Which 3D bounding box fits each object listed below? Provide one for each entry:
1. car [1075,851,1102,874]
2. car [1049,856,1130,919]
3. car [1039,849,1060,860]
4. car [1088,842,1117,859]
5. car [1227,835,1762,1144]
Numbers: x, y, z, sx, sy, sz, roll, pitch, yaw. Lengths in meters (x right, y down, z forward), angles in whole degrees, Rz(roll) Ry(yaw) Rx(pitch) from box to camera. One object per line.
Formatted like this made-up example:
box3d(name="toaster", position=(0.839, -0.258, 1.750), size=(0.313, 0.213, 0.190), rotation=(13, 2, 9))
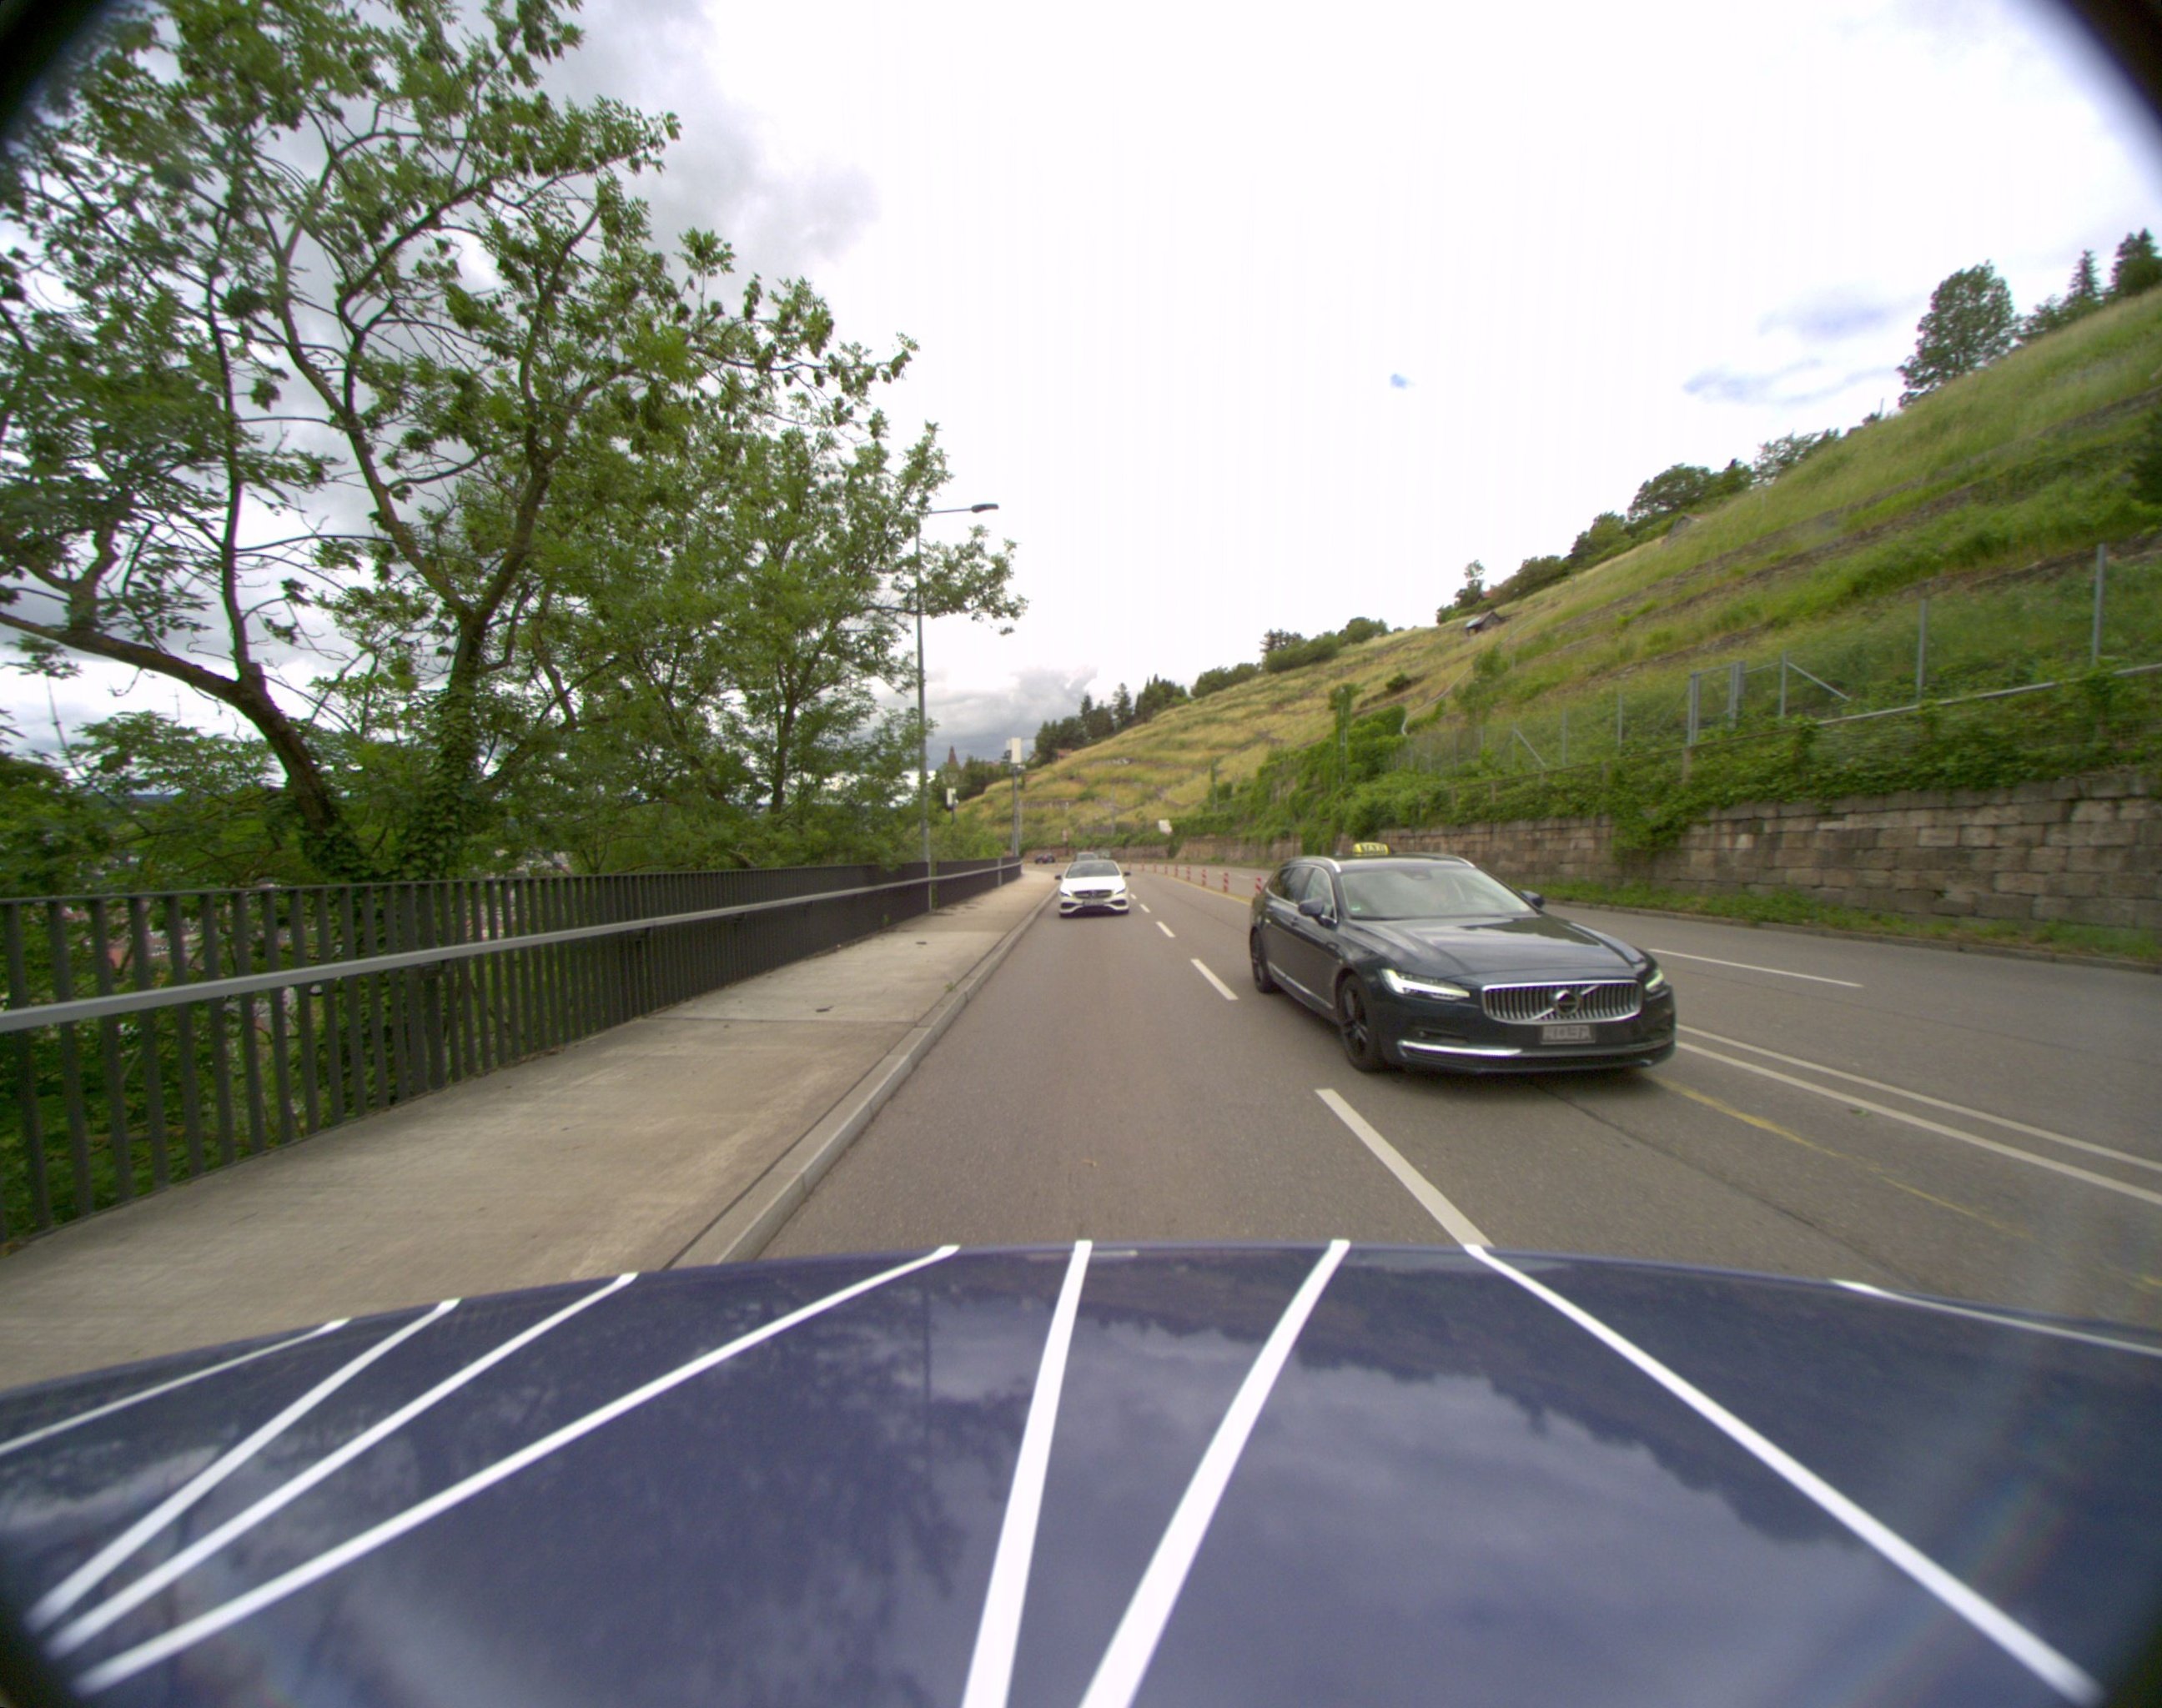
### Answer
box3d(name="car", position=(0.511, 0.563, 51.457), size=(1.644, 1.381, 3.999), rotation=(-4, 1, 1))
box3d(name="car", position=(0.223, 0.861, 20.674), size=(1.903, 1.418, 4.266), rotation=(-4, -1, 0))
box3d(name="car", position=(-4.237, 0.076, 100.327), size=(1.602, 1.420, 3.993), rotation=(-4, 1, -19))
box3d(name="car", position=(2.406, -0.371, 86.022), size=(1.916, 1.682, 3.993), rotation=(-4, 1, -21))
box3d(name="car", position=(2.715, 0.717, 6.614), size=(1.939, 1.567, 5.027), rotation=(-3, 0, 1))
